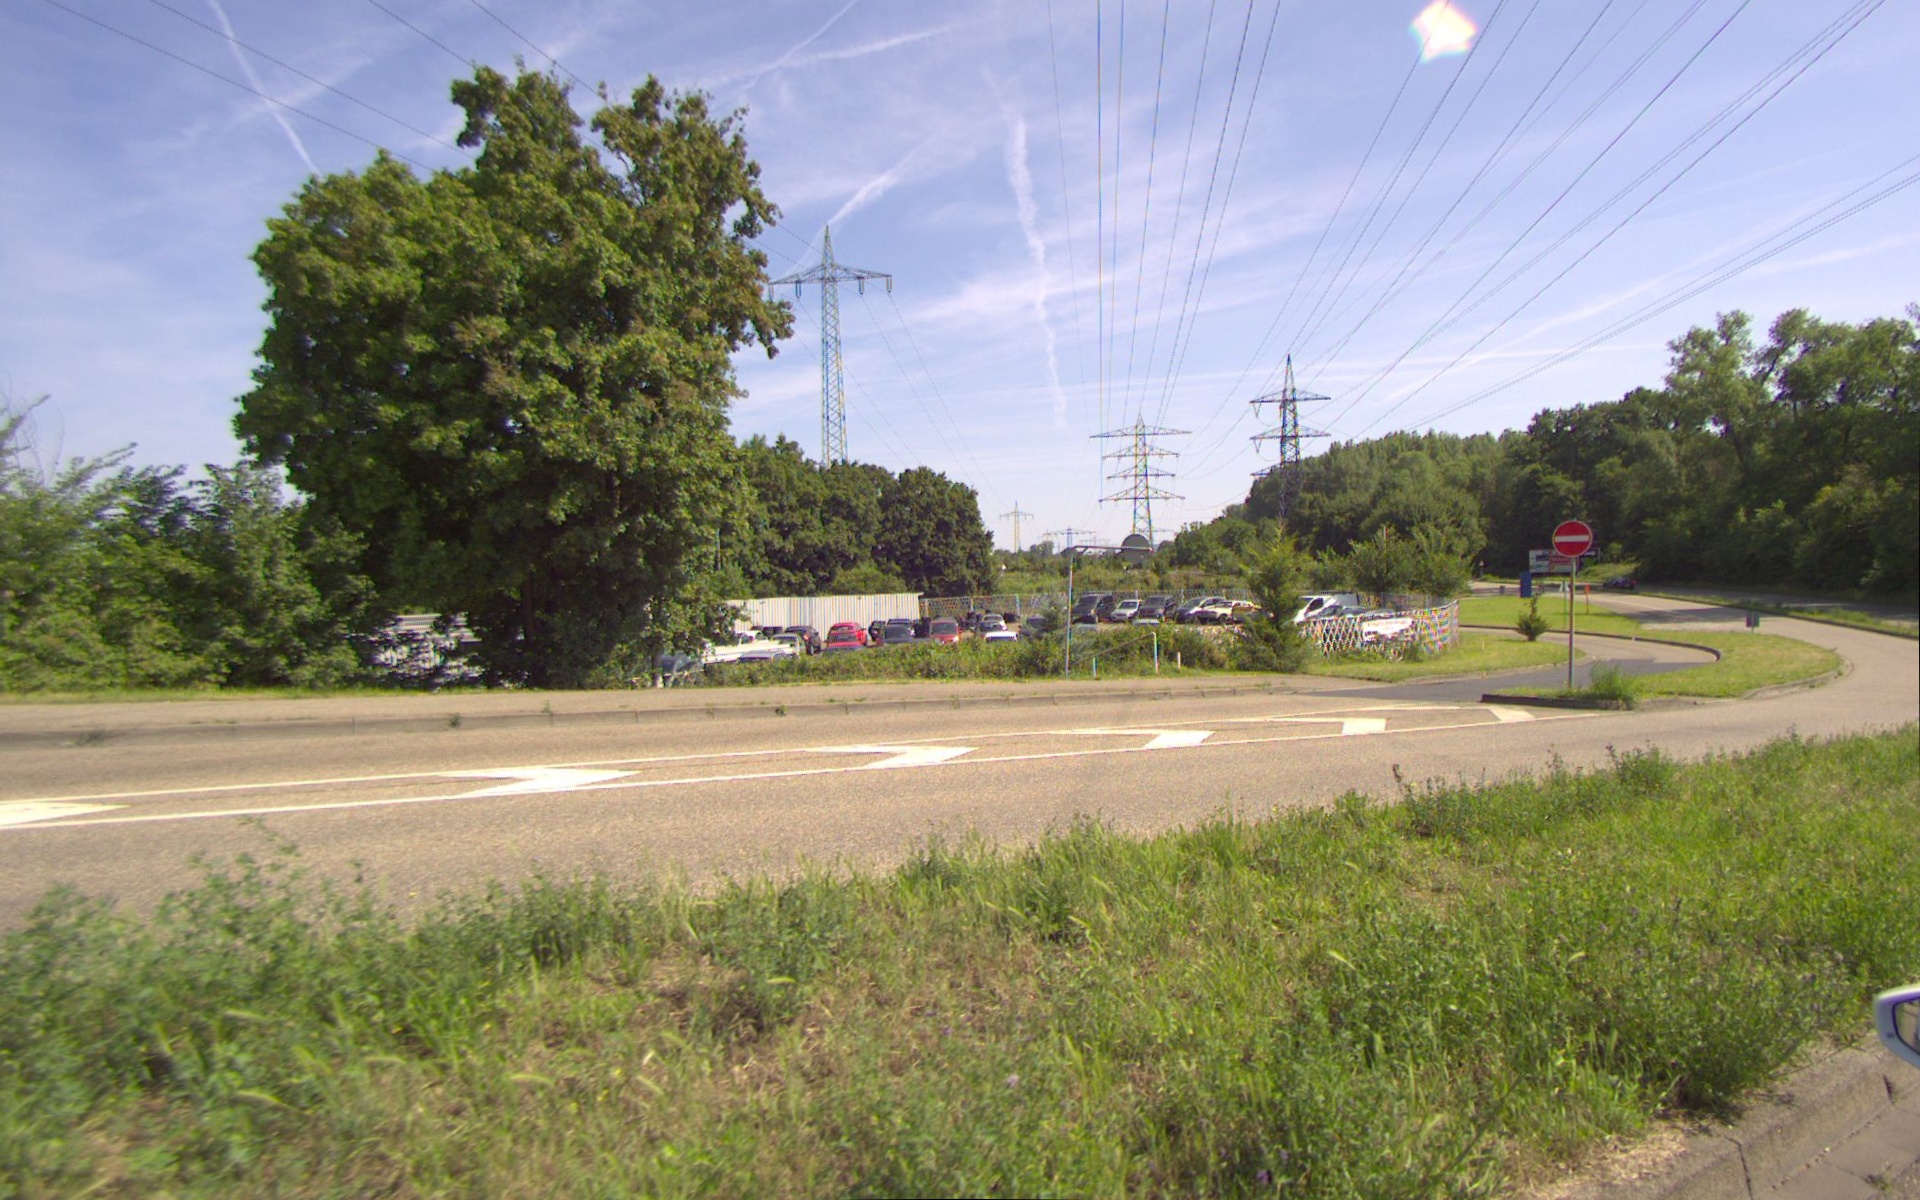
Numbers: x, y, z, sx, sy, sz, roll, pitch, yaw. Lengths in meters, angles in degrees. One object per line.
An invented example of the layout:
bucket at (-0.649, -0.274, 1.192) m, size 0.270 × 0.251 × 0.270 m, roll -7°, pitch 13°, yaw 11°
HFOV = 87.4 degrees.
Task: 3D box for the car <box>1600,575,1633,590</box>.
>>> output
car at (71.541, -1.944, 109.531) m, size 1.619 × 1.587 × 3.658 m, roll -2°, pitch 1°, yaw 9°

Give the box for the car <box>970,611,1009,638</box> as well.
car at (1.630, 1.355, 56.425) m, size 1.570 × 1.310 × 3.173 m, roll -2°, pitch 1°, yaw -11°

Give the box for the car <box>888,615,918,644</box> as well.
car at (-3.106, 1.567, 54.110) m, size 1.361 × 1.310 × 3.176 m, roll -2°, pitch 1°, yaw -7°

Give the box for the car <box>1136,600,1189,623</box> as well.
car at (13.316, 0.741, 65.907) m, size 3.614 × 1.310 × 1.579 m, roll -3°, pitch 2°, yaw -43°

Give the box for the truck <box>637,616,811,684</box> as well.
truck at (-9.290, 1.897, 39.677) m, size 6.285 × 2.142 × 2.479 m, roll -3°, pitch 2°, yaw -25°

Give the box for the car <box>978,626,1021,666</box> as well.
car at (1.604, 1.798, 40.124) m, size 1.567 × 1.310 × 3.181 m, roll -2°, pitch 1°, yaw 4°

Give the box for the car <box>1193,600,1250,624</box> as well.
car at (16.241, 0.729, 62.313) m, size 3.611 × 1.310 × 1.580 m, roll -3°, pitch 2°, yaw -40°

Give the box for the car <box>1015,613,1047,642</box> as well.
car at (3.680, 1.394, 51.941) m, size 1.567 × 1.310 × 3.181 m, roll -2°, pitch 1°, yaw 4°

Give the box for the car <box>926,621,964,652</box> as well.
car at (-0.730, 1.805, 49.949) m, size 1.567 × 1.310 × 3.181 m, roll -2°, pitch 1°, yaw 4°

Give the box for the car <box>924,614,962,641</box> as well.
car at (-0.954, 1.477, 54.927) m, size 1.570 × 1.310 × 3.173 m, roll -2°, pitch 1°, yaw -11°

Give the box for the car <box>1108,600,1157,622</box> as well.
car at (11.732, 0.732, 68.367) m, size 1.576 × 1.310 × 3.620 m, roll 0°, pitch 2°, yaw 42°

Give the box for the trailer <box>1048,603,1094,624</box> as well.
trailer at (7.777, 0.948, 70.544) m, size 2.853 × 1.275 × 1.495 m, roll -2°, pitch 2°, yaw -15°

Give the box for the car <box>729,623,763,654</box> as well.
car at (-10.800, 1.903, 50.771) m, size 1.570 × 1.310 × 3.173 m, roll -2°, pitch 1°, yaw -11°

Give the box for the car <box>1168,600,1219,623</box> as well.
car at (14.996, 0.721, 64.399) m, size 1.576 × 1.310 × 3.620 m, roll 0°, pitch 2°, yaw 42°

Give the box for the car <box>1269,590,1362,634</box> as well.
car at (18.943, 0.610, 53.471) m, size 4.663 × 2.068 × 1.688 m, roll -2°, pitch 2°, yaw -21°

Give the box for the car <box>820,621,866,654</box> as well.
car at (-5.593, 1.788, 48.343) m, size 1.567 × 1.310 × 3.181 m, roll -2°, pitch 1°, yaw 4°

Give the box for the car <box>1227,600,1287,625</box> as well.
car at (17.939, 0.713, 60.662) m, size 3.604 × 1.310 × 1.583 m, roll -3°, pitch 2°, yaw -35°

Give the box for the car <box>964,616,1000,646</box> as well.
car at (1.124, 1.524, 50.041) m, size 1.567 × 1.310 × 3.181 m, roll -2°, pitch 1°, yaw 4°

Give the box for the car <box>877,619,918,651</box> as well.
car at (-3.017, 1.682, 49.218) m, size 1.567 × 1.310 × 3.181 m, roll -2°, pitch 1°, yaw 4°

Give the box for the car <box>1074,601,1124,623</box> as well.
car at (9.558, 0.793, 68.924) m, size 1.576 × 1.310 × 3.620 m, roll 0°, pitch 2°, yaw 42°

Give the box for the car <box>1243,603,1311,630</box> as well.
car at (17.700, 0.908, 56.046) m, size 3.595 × 1.310 × 1.587 m, roll -3°, pitch 2°, yaw -28°

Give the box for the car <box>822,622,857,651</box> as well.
car at (-6.393, 1.892, 53.195) m, size 1.570 × 1.310 × 3.173 m, roll -2°, pitch 1°, yaw -11°

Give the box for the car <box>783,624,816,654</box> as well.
car at (-8.353, 2.012, 52.096) m, size 1.570 × 1.310 × 3.173 m, roll -2°, pitch 1°, yaw -11°
